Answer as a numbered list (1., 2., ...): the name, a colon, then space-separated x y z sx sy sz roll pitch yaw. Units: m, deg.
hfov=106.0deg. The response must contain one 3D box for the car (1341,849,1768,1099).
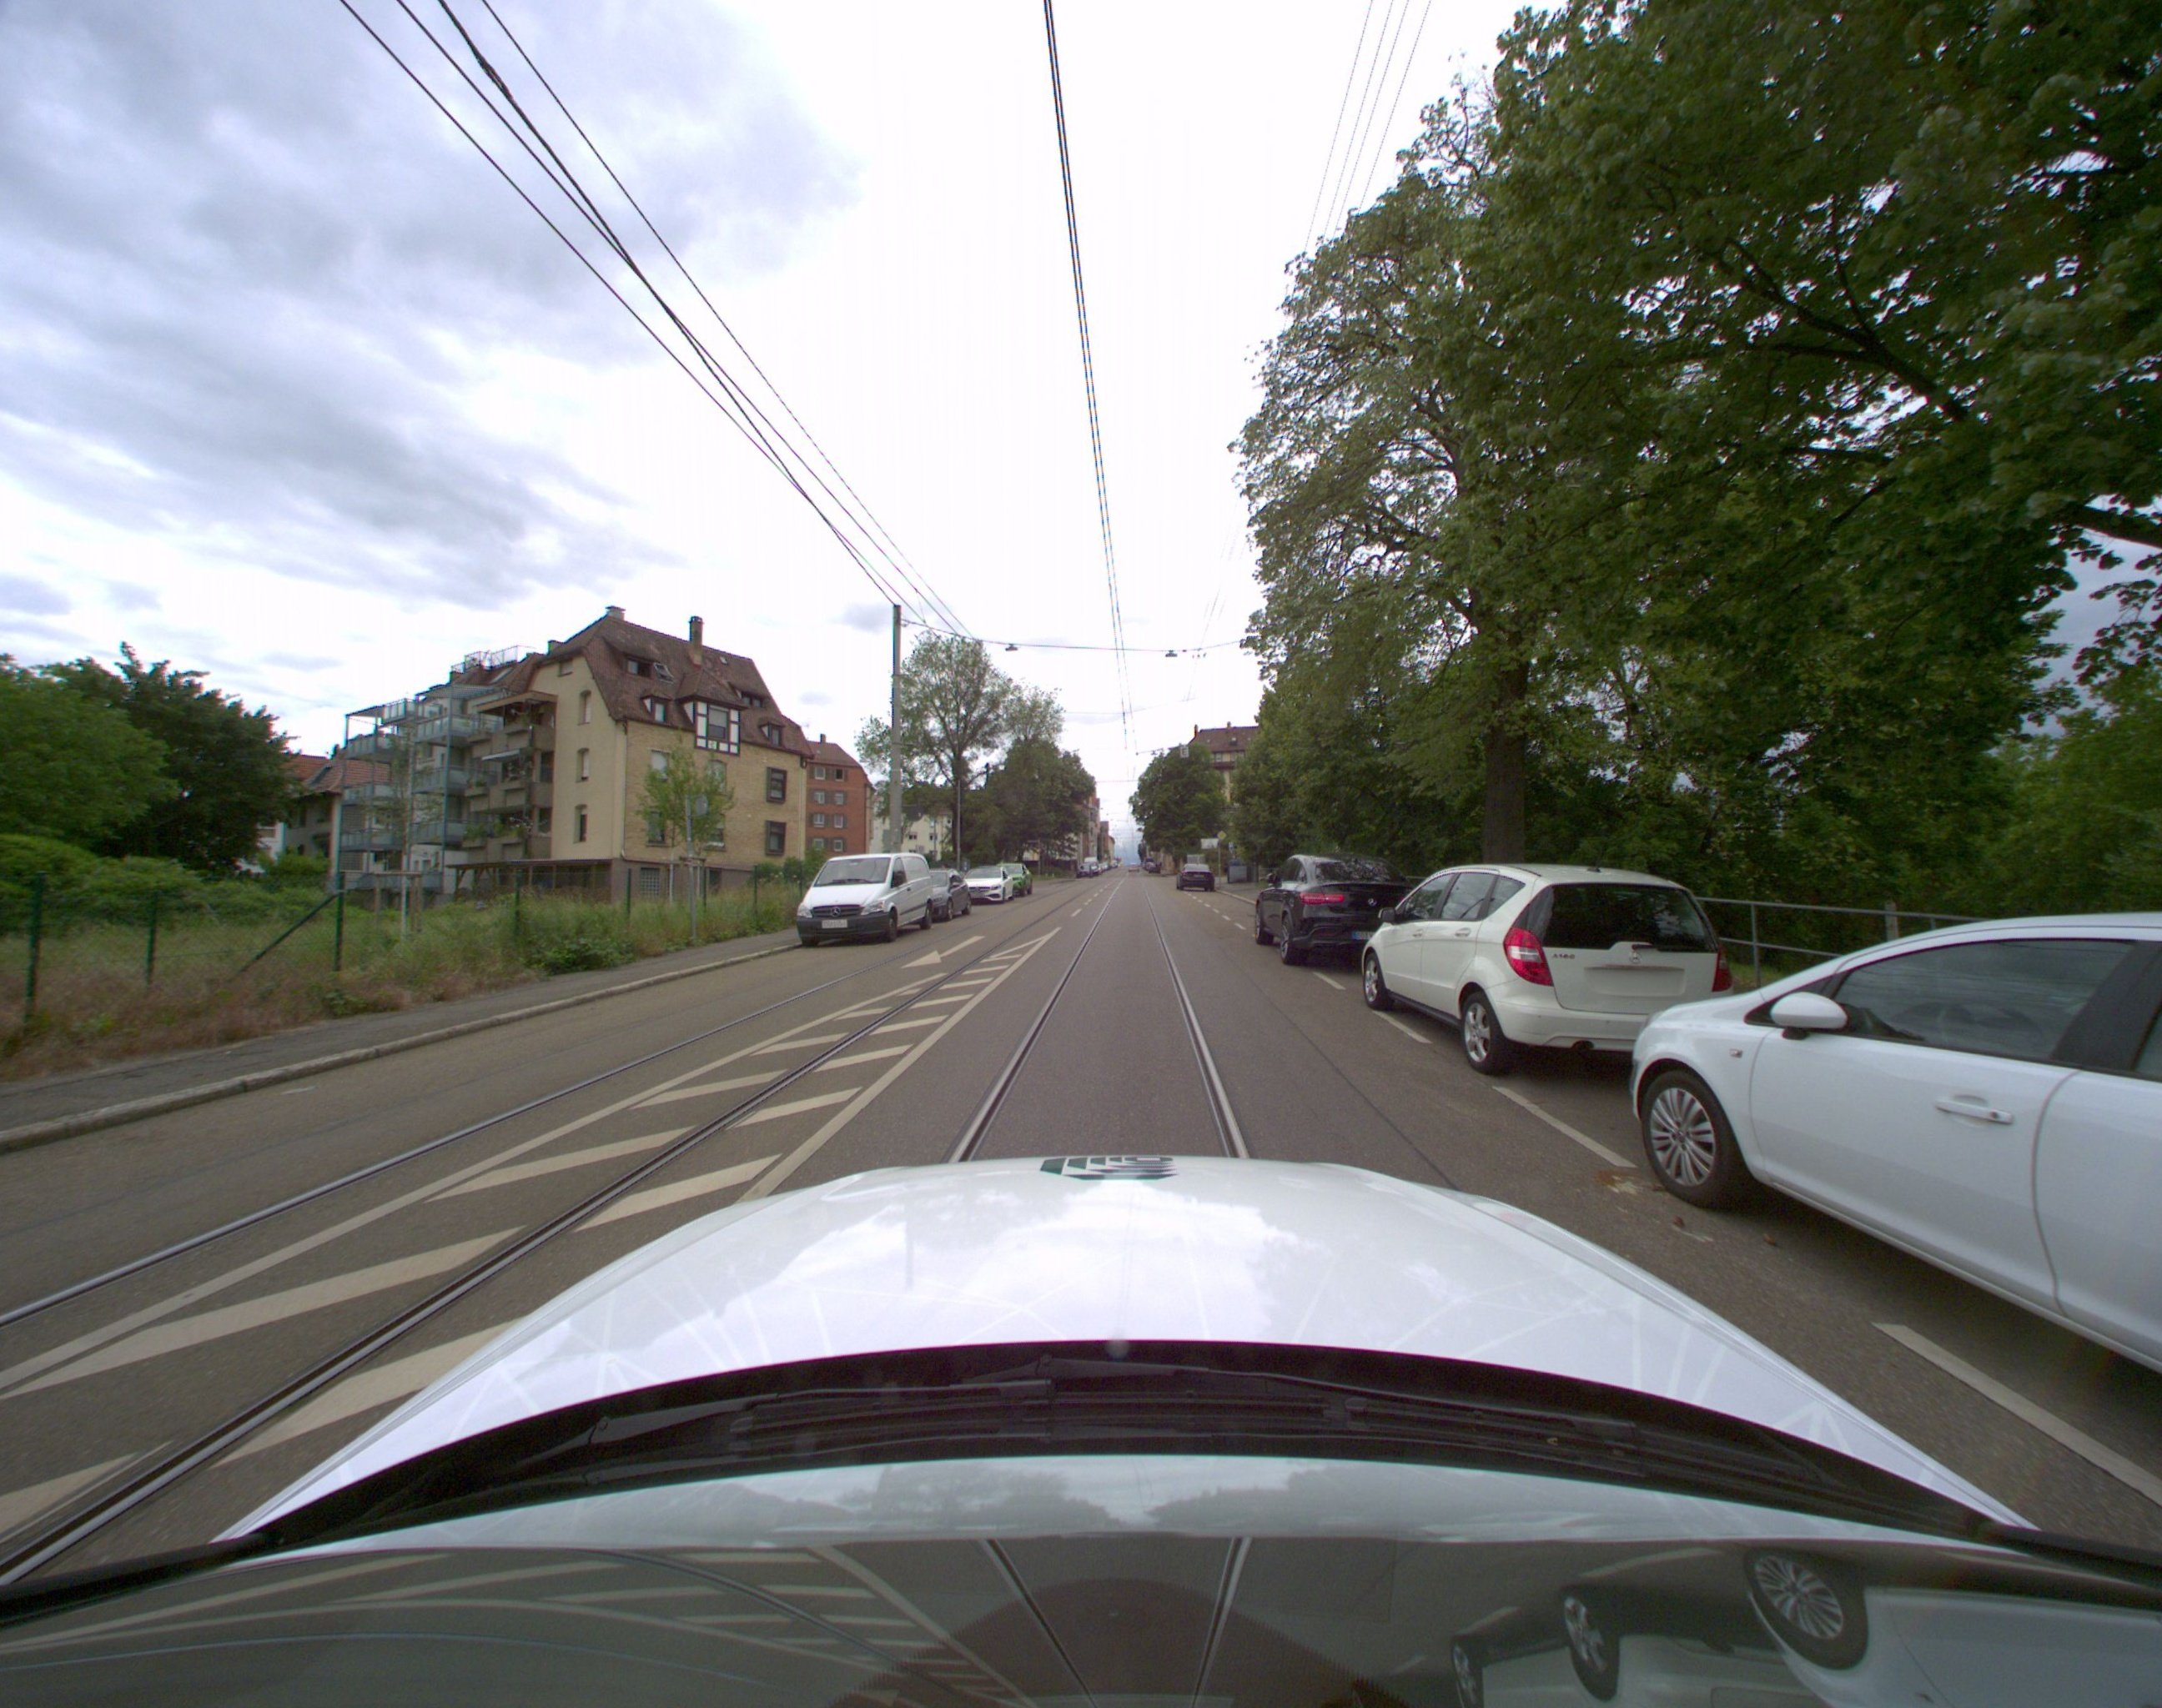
1. car: 3.913 0.835 7.662 1.719 1.631 4.090 3 0 2

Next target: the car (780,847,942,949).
1. car: -4.720 0.911 18.328 2.027 1.881 4.888 -3 -2 2

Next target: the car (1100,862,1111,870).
1. car: 4.655 2.309 156.795 1.915 1.601 4.004 0 -1 4

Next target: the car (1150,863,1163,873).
1. car: 11.699 2.129 126.850 1.984 1.530 4.317 0 -1 5

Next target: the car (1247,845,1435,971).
1. car: 4.075 0.759 13.696 1.869 1.678 5.068 1 0 4

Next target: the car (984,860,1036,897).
1. car: -3.223 1.081 37.767 1.715 1.580 4.185 -2 -1 4

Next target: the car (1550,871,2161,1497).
1. car: 3.536 0.867 2.778 1.623 1.516 4.066 2 -1 2

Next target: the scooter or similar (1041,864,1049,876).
1. scooter or similar: -4.159 1.820 94.156 0.687 1.339 1.641 0 -1 5

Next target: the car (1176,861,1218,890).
1. car: 6.207 1.147 44.033 1.820 1.430 4.851 1 -1 3

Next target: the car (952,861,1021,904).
1. car: -3.648 1.103 32.365 1.877 1.526 4.668 -2 -1 4

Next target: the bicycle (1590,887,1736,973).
1. bicycle: 7.383 0.928 10.436 0.426 0.976 1.791 0 -1 -6

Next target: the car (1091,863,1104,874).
1. car: 2.493 2.166 123.309 1.986 1.600 4.313 0 -1 2

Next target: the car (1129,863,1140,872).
1. car: 9.236 2.376 140.894 1.985 1.499 4.315 0 -1 3

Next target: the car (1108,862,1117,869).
1. car: 7.675 2.706 196.251 1.985 1.601 4.003 0 -1 3

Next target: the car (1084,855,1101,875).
1. car: 1.636 1.584 113.026 2.222 2.764 5.801 0 -1 2

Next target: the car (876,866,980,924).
1. car: -4.372 1.137 24.032 1.888 1.433 4.515 -2 0 4

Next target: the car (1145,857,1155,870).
1. car: 14.027 1.872 165.672 1.984 2.574 4.709 -1 -2 4

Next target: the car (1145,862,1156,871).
1. car: 13.659 2.512 160.159 1.984 1.651 4.004 -1 -1 4

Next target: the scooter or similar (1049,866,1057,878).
1. scooter or similar: -3.222 2.117 93.954 0.687 1.339 1.641 0 -1 5

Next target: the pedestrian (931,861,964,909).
1. pedestrian: -4.655 1.078 28.405 0.811 1.629 0.906 1 -2 -35

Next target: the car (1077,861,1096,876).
1. car: 0.737 1.741 98.542 1.984 1.808 4.005 0 -1 5

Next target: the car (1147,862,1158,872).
1. car: 12.952 2.295 147.483 1.984 1.717 4.004 -1 -1 4
